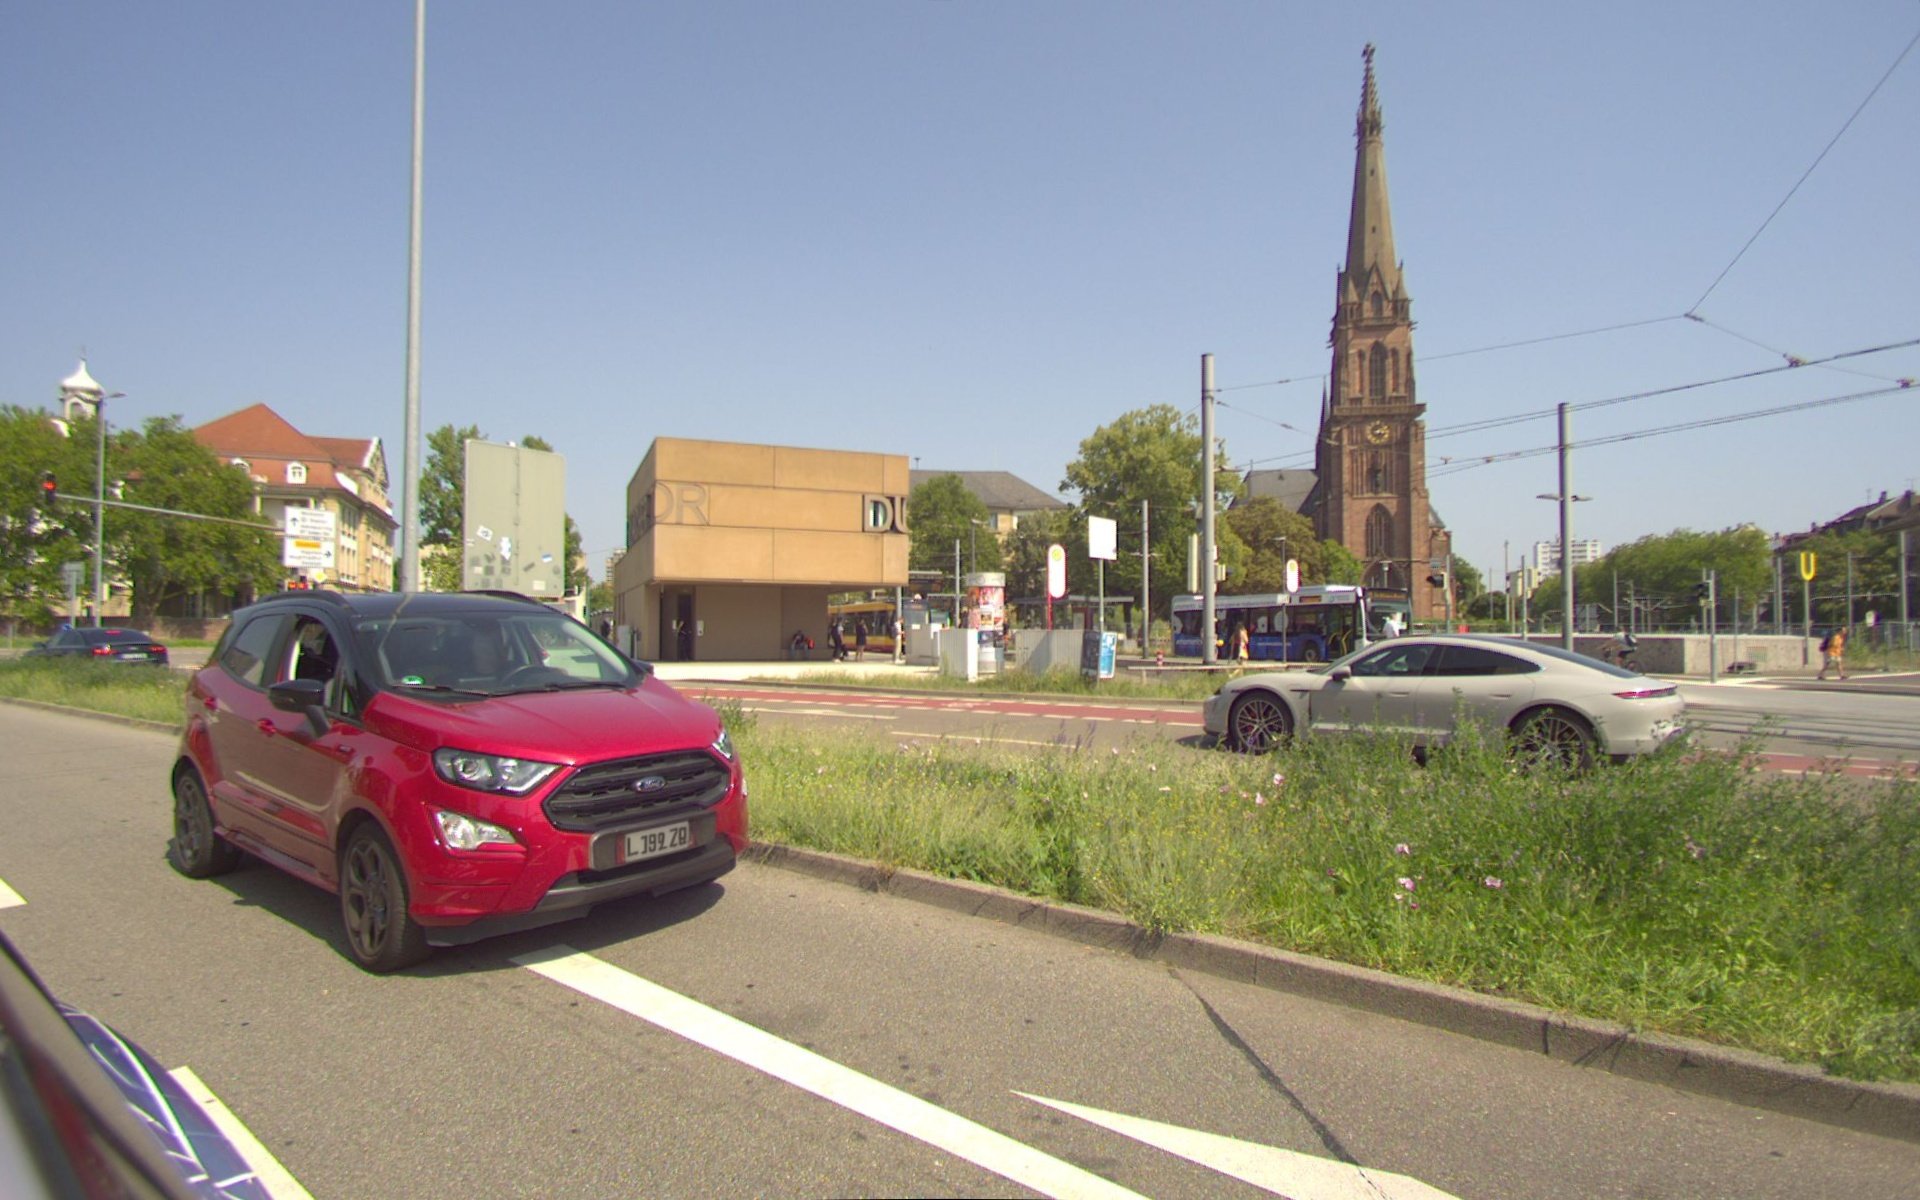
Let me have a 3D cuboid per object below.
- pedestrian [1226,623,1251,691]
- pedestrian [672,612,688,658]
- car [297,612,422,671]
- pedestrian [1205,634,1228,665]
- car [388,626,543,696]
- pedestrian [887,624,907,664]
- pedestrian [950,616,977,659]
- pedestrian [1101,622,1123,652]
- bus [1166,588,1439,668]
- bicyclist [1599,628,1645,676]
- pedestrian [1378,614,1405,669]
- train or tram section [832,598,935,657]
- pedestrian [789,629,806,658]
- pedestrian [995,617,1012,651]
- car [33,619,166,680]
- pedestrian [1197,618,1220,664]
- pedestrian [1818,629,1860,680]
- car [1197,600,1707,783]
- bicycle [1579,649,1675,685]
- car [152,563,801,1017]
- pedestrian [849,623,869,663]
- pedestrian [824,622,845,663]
[{"bbox_3d":[7.593,1.541,27.617,0.632,1.825,0.599,-1,0,15],"label":"pedestrian"},{"bbox_3d":[-10.084,1.265,36.441,0.532,1.637,0.690,1,-2,-15],"label":"pedestrian"},{"bbox_3d":[-20.031,1.355,33.751,3.897,1.868,1.851,0,-2,28],"label":"car"},{"bbox_3d":[9.885,1.897,39.004,0.602,1.134,0.629,-1,0,44],"label":"pedestrian"},{"bbox_3d":[-11.276,1.354,23.052,3.464,1.490,1.511,-1,-2,31],"label":"car"},{"bbox_3d":[-2.390,1.667,38.525,0.541,1.508,0.532,-1,-3,39],"label":"pedestrian"},{"bbox_3d":[0.118,1.314,35.605,0.605,1.508,0.761,-1,-3,39],"label":"pedestrian"},{"bbox_3d":[8.626,2.096,57.525,0.832,1.709,0.961,1,-2,-22],"label":"pedestrian"},{"bbox_3d":[13.286,1.170,41.350,3.346,2.733,12.382,1,-2,-21],"label":"bus"},{"bbox_3d":[20.662,1.617,31.595,0.644,1.438,1.012,-1,0,-22],"label":"bicyclist"},{"bbox_3d":[14.565,1.390,34.175,0.593,1.825,0.639,-1,0,-44],"label":"pedestrian"},{"bbox_3d":[-5.243,1.809,65.678,2.658,3.465,13.464,1,-2,-22],"label":"train or tram section"},{"bbox_3d":[-6.207,1.655,38.671,0.530,1.108,0.543,1,-2,-19],"label":"pedestrian"},{"bbox_3d":[2.375,1.855,54.938,0.792,1.837,0.535,1,-2,-22],"label":"pedestrian"},{"bbox_3d":[-21.522,1.214,25.298,3.465,1.437,1.510,-1,-2,31],"label":"car"},{"bbox_3d":[9.451,1.567,38.503,0.693,1.724,0.528,-2,-3,44],"label":"pedestrian"},{"bbox_3d":[27.251,1.675,31.383,0.856,1.555,0.735,-1,-2,33],"label":"pedestrian"},{"bbox_3d":[5.208,0.871,11.107,4.710,1.597,1.974,-2,-2,39],"label":"car"},{"bbox_3d":[20.744,2.059,31.548,0.945,1.050,2.369,1,-2,-21],"label":"bicycle"},{"bbox_3d":[-2.781,0.704,5.438,3.841,1.598,1.673,-2,-1,39],"label":"car"},{"bbox_3d":[-3.826,1.643,38.412,0.541,1.508,0.532,-1,-3,39],"label":"pedestrian"},{"bbox_3d":[-4.653,1.581,37.575,0.541,1.508,0.532,-1,-3,39],"label":"pedestrian"}]
